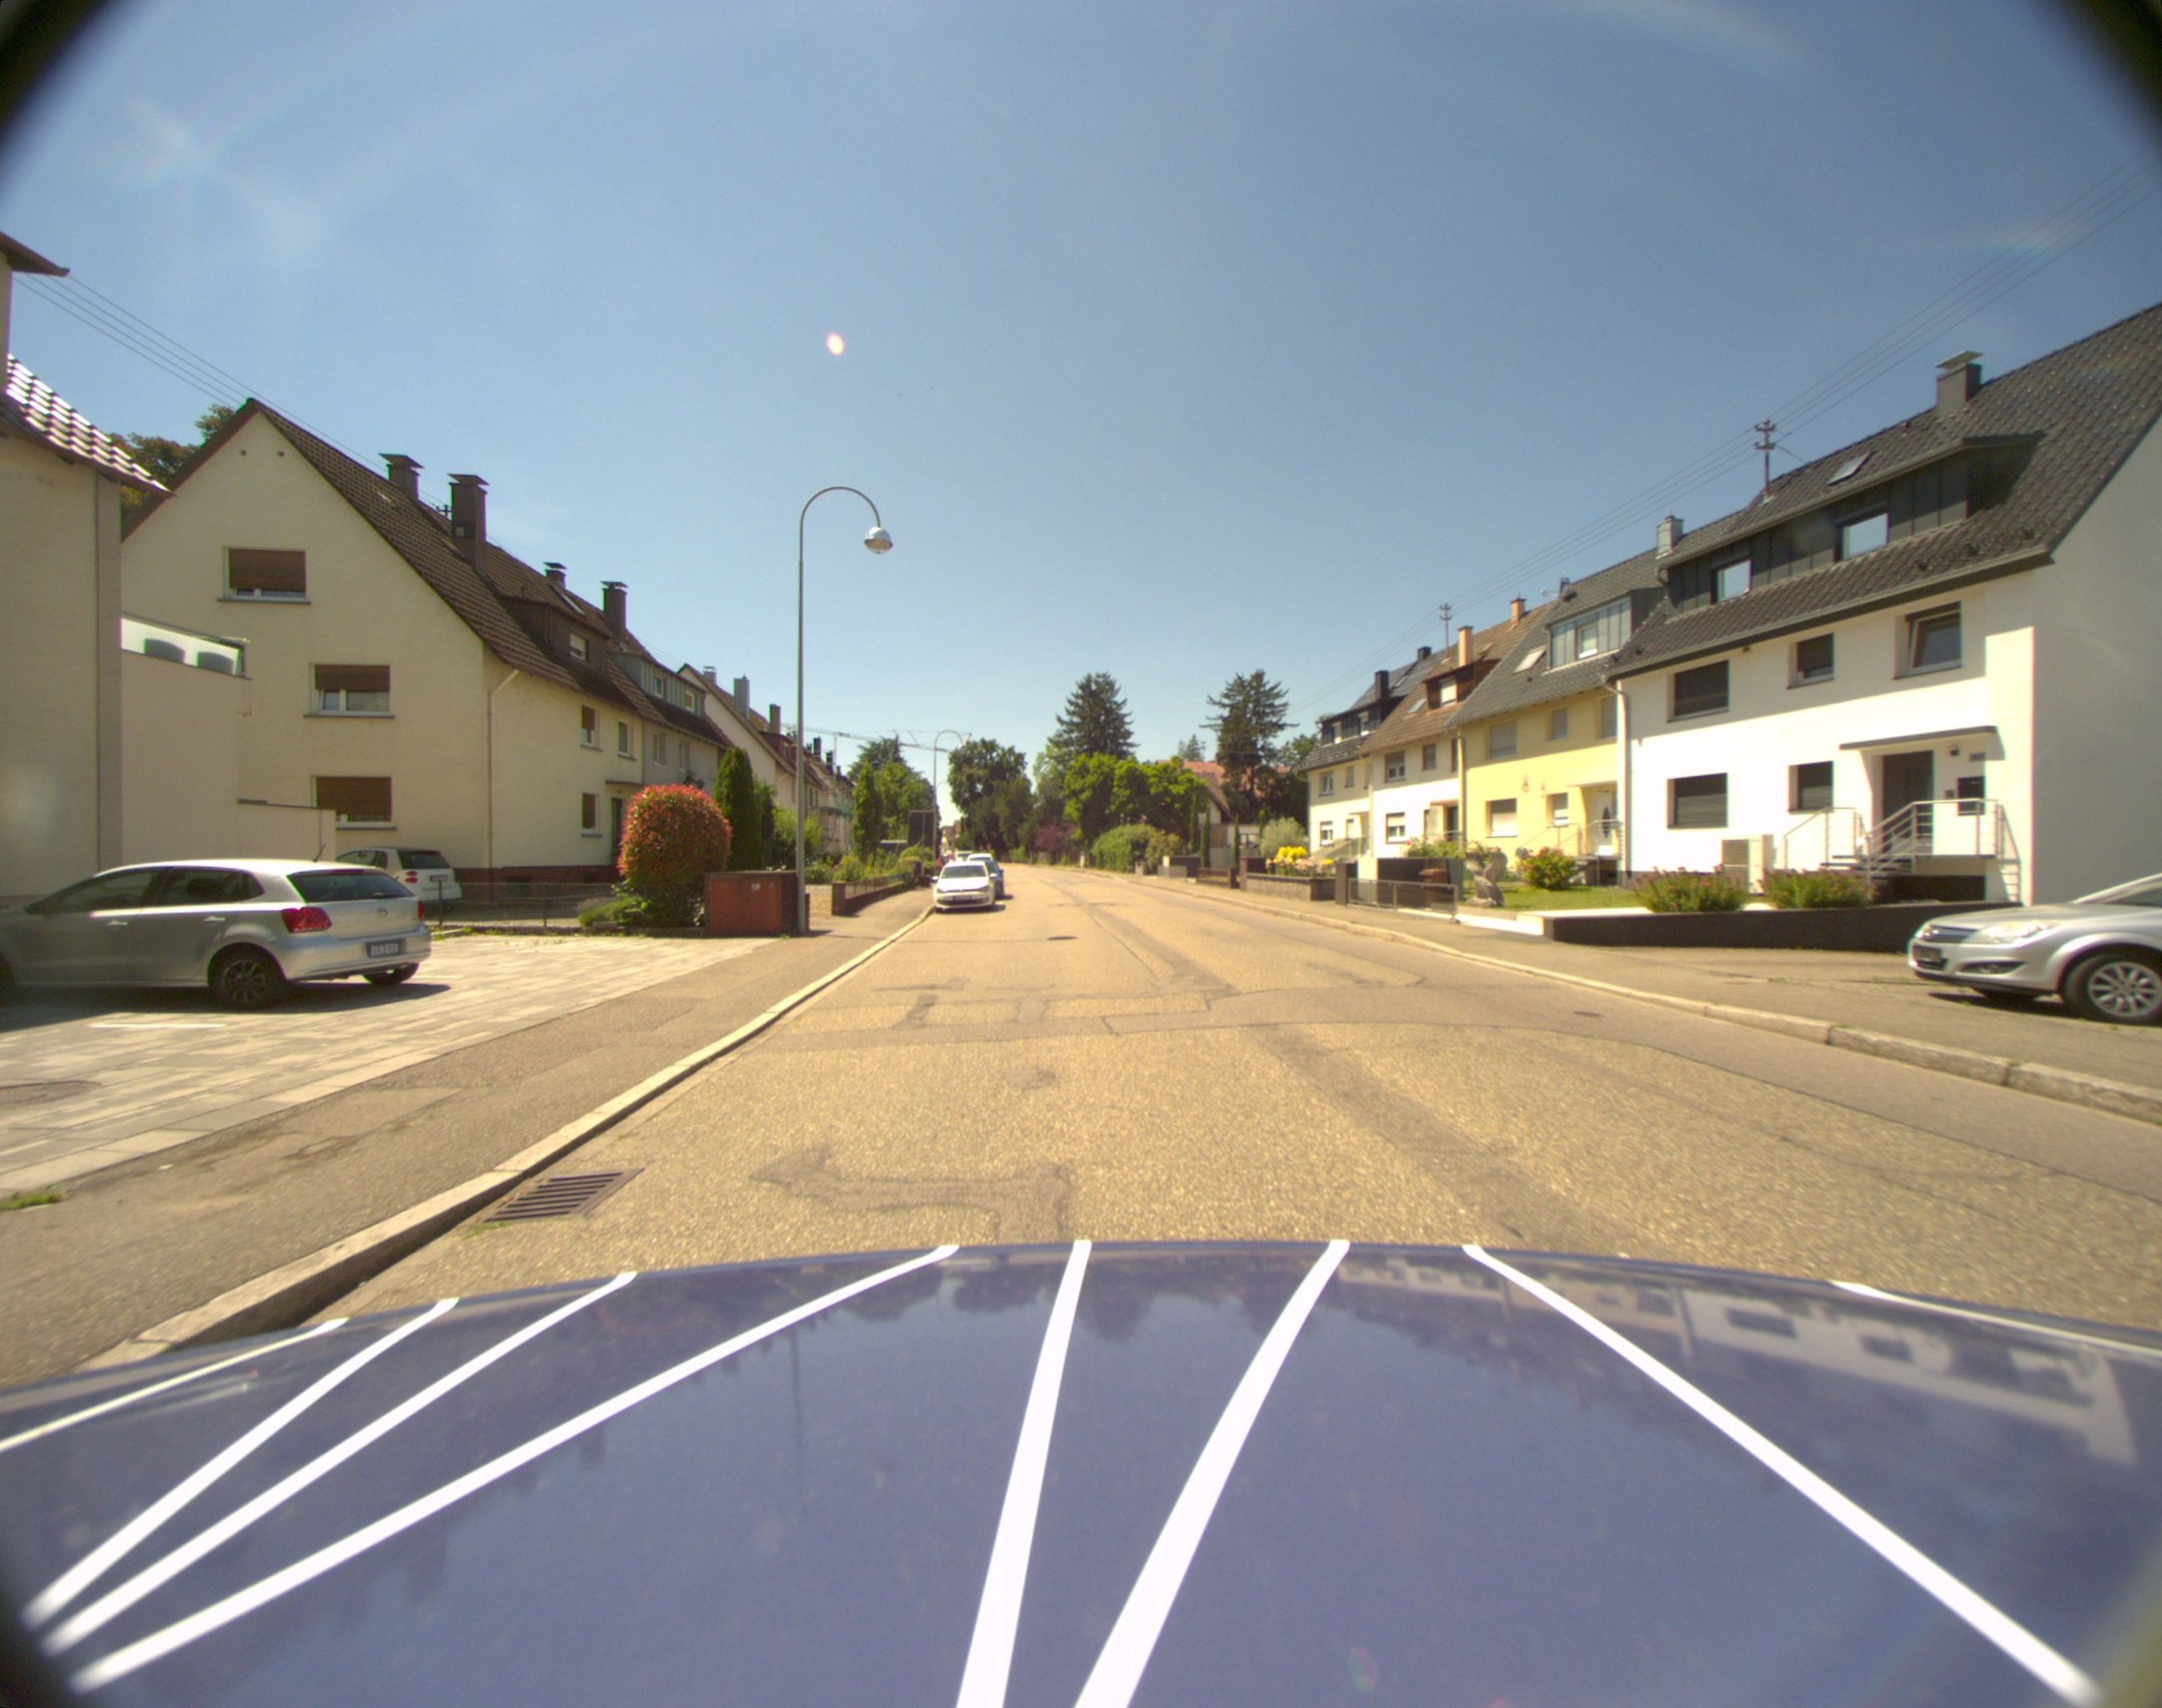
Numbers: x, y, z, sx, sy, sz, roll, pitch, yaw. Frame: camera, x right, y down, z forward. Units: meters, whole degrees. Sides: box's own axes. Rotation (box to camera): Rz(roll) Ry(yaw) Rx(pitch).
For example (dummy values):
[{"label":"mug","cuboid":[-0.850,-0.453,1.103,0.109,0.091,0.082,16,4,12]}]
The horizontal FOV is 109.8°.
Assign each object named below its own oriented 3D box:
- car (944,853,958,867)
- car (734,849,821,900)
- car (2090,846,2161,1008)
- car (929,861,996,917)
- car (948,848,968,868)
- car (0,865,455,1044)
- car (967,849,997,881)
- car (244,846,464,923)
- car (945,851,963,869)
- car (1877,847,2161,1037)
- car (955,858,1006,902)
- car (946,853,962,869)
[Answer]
[{"label":"car","cuboid":[-17.430,0.786,102.089,1.690,1.769,3.936,-2,1,-11]},{"label":"car","cuboid":[-11.871,0.731,30.047,1.922,1.839,4.528,-1,1,-5]},{"label":"car","cuboid":[12.989,0.790,6.989,4.194,1.634,1.857,1,0,45]},{"label":"car","cuboid":[-3.474,0.986,22.837,1.689,1.446,3.738,-2,0,-5]},{"label":"car","cuboid":[-11.545,0.339,71.200,1.690,1.769,3.937,-2,1,-8]},{"label":"car","cuboid":[-9.170,0.966,7.982,3.628,1.521,1.777,-2,1,0]},{"label":"car","cuboid":[-6.324,0.645,48.731,1.689,1.770,3.937,-5,2,-7]},{"label":"car","cuboid":[-15.891,0.648,16.756,3.158,1.543,1.569,2,0,-7]},{"label":"car","cuboid":[-13.191,0.588,79.074,1.690,1.769,3.937,-2,1,-8]},{"label":"car","cuboid":[9.954,0.741,6.285,4.263,1.486,1.880,1,0,29]},{"label":"car","cuboid":[-3.745,0.931,28.922,1.689,1.445,4.360,-2,1,-5]},{"label":"car","cuboid":[-15.448,0.812,92.416,1.690,1.769,3.937,-2,1,-8]}]
